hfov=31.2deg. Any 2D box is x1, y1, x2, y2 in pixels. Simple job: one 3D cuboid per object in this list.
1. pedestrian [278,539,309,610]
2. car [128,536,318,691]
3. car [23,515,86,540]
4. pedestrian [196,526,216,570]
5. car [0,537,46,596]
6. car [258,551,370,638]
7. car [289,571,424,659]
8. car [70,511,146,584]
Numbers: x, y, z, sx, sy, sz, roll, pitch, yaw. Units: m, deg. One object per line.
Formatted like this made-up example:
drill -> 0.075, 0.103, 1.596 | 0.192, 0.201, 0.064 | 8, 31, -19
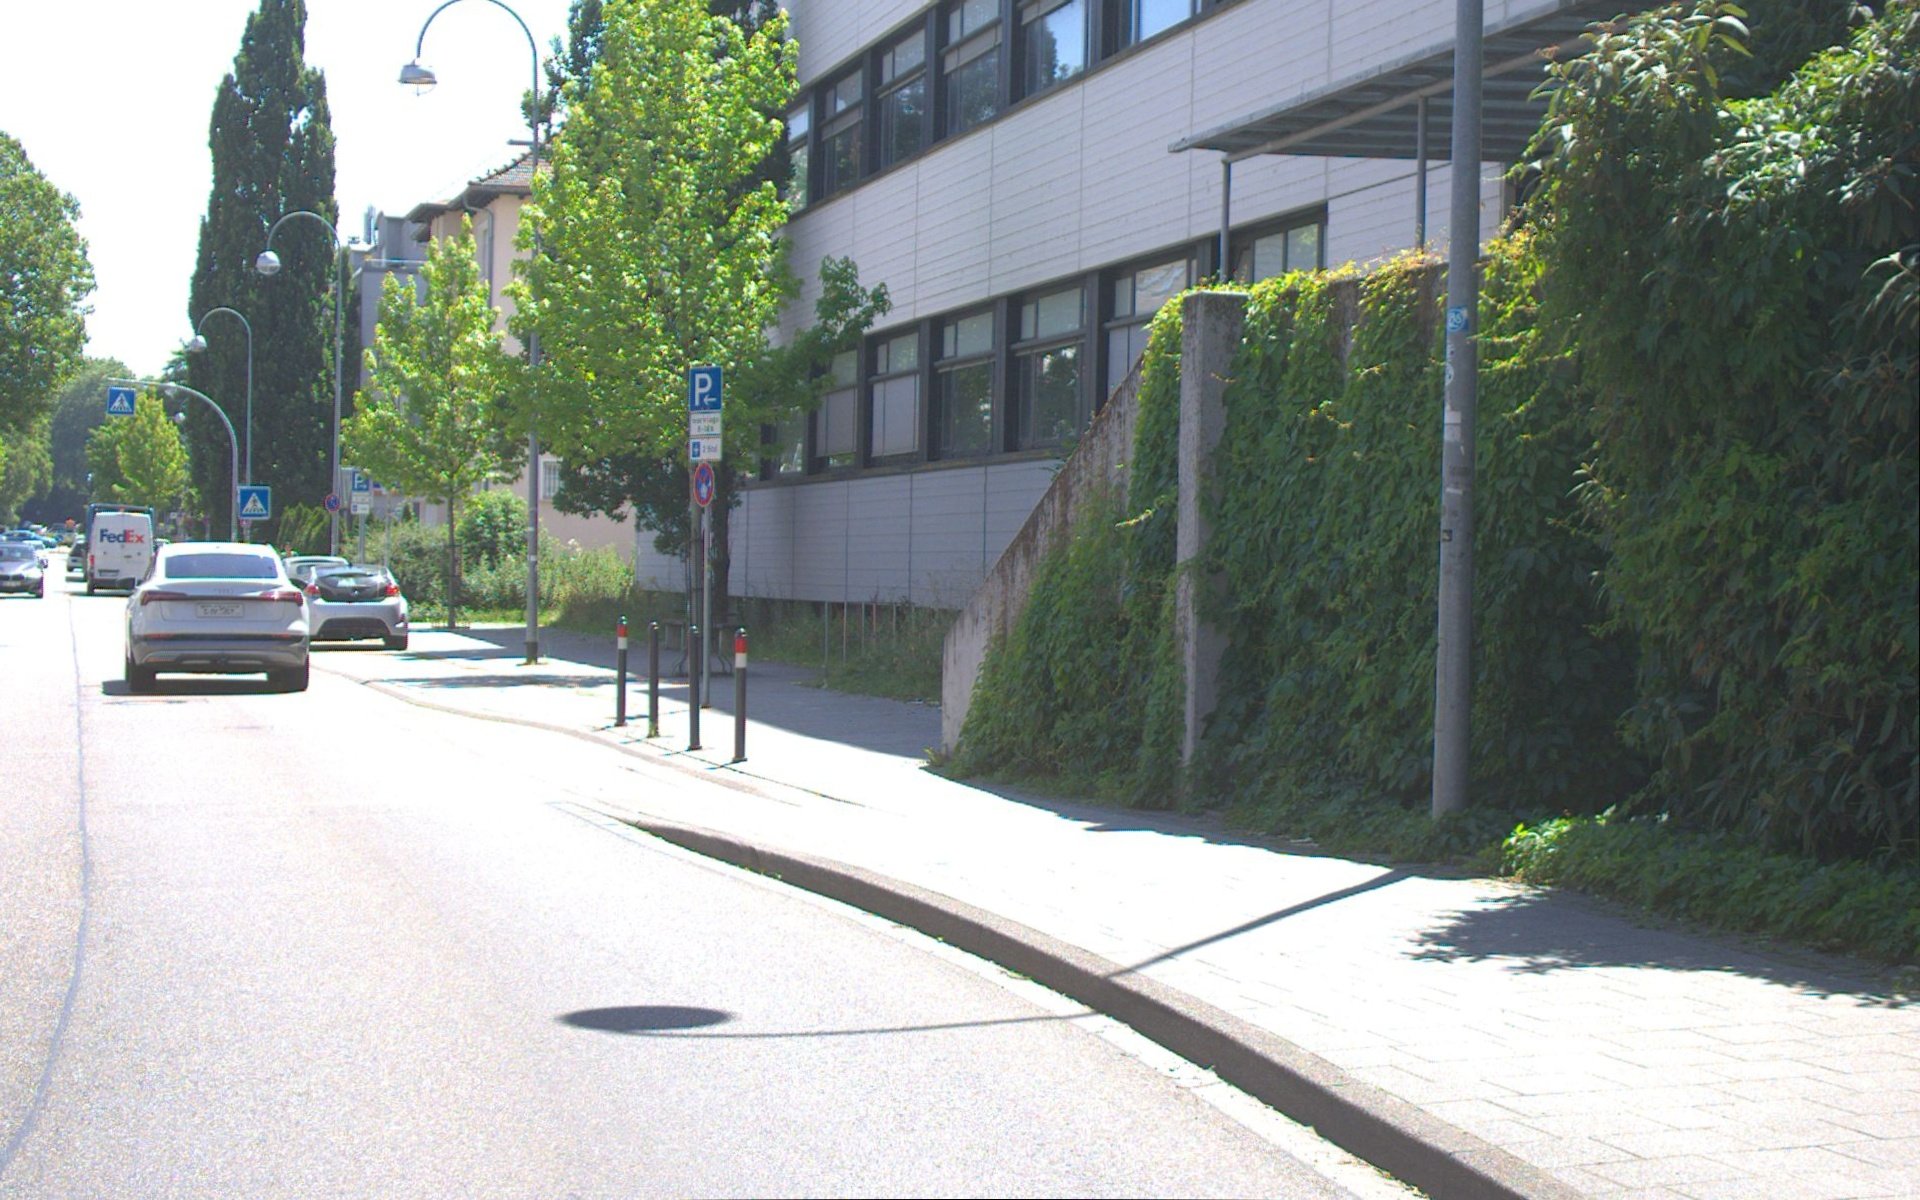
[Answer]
pedestrian -> -16.424, -0.631, 84.701 | 0.637, 1.752, 0.617 | 1, 1, -19
car -> -8.394, 0.098, 38.895 | 1.935, 1.609, 4.473 | -1, 1, -14
car -> -62.757, -5.020, 238.202 | 3.986, 1.645, 2.001 | 1, 1, -7
pedestrian -> -29.910, -2.079, 136.426 | 0.693, 1.730, 0.668 | 1, 1, -19
car -> -27.383, -0.988, 99.016 | 1.973, 1.665, 4.473 | 0, 1, -16
car -> -11.802, -0.130, 62.666 | 1.658, 1.483, 4.347 | -1, 1, -15
car -> -10.063, 0.221, 57.137 | 1.862, 1.368, 4.001 | 0, 1, -15
car -> -26.502, -1.633, 106.854 | 2.069, 2.189, 5.140 | -1, 1, -16
